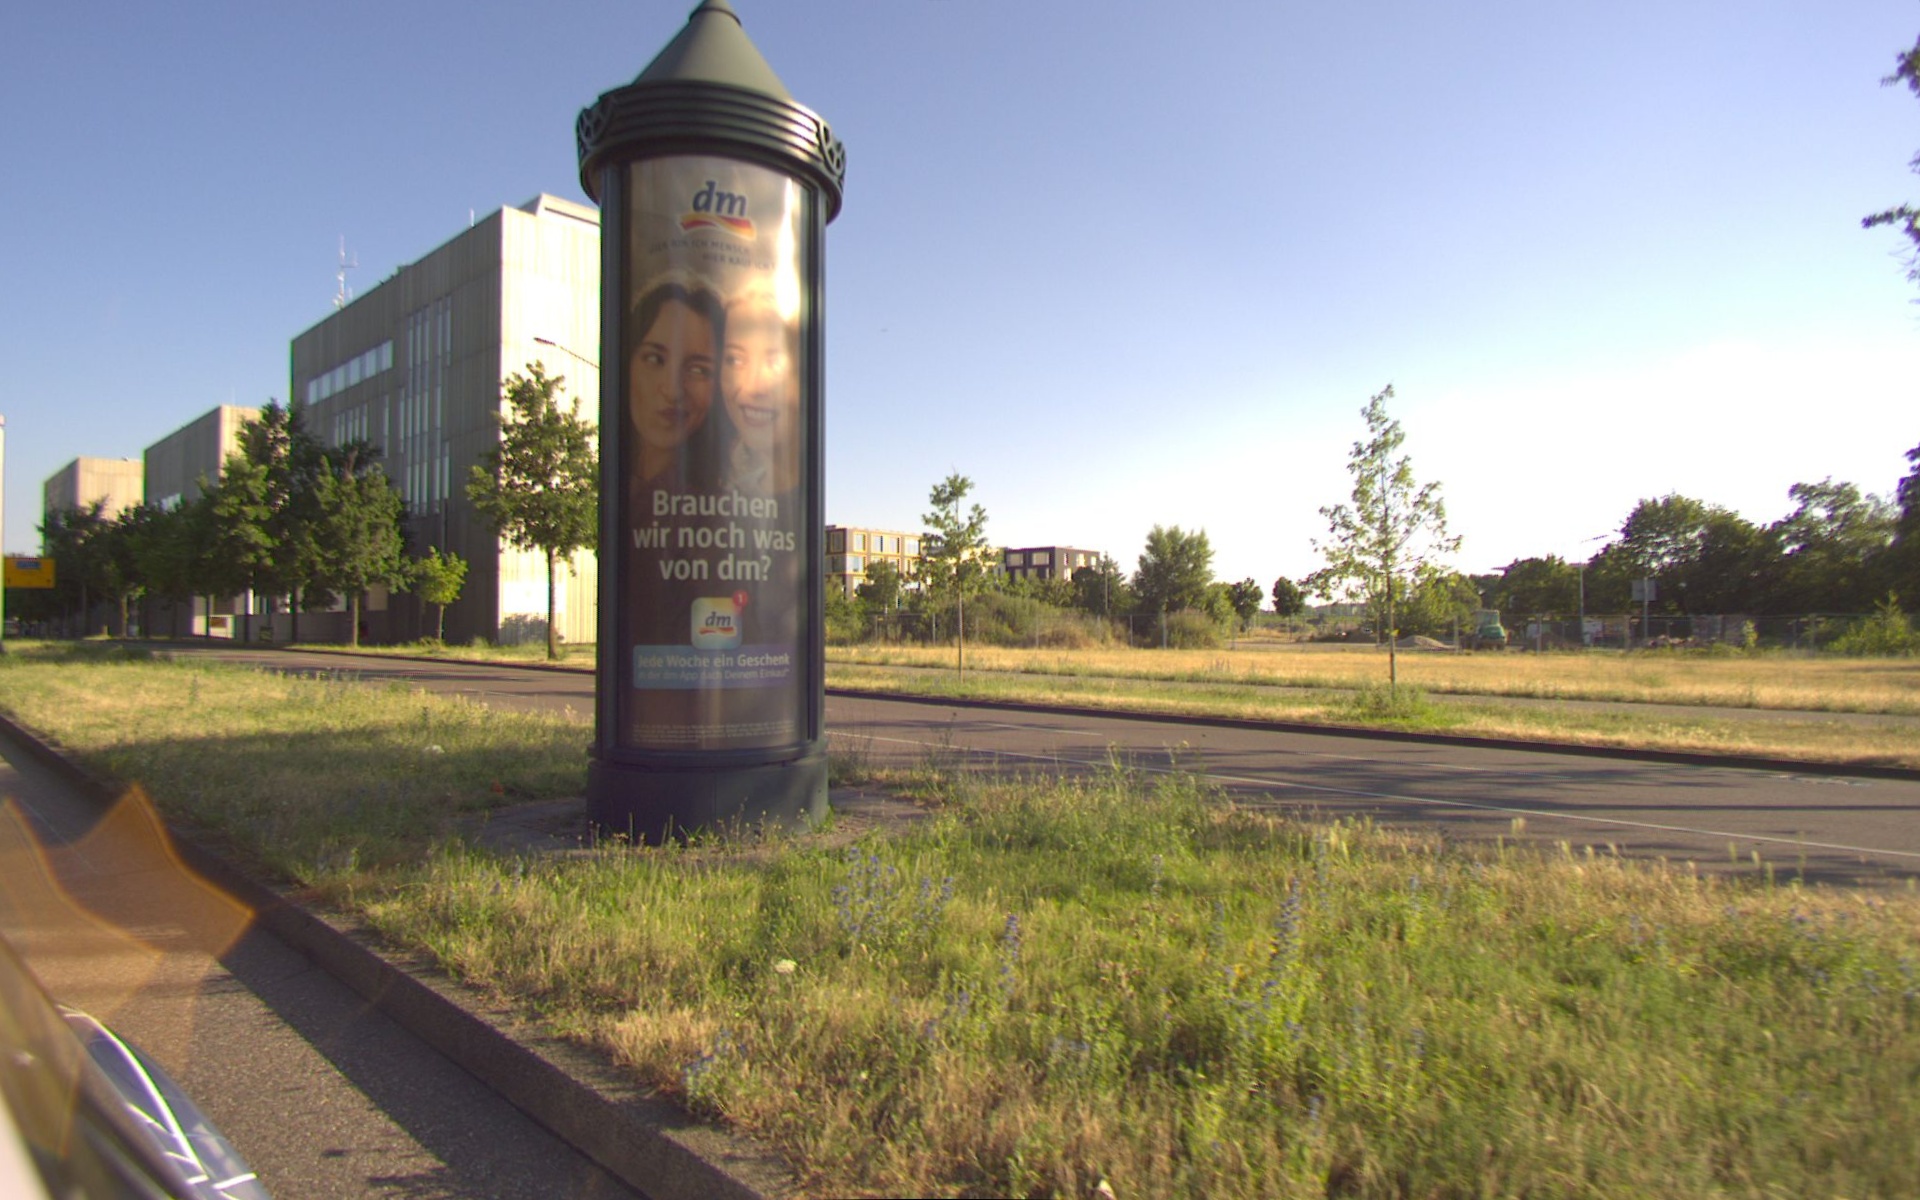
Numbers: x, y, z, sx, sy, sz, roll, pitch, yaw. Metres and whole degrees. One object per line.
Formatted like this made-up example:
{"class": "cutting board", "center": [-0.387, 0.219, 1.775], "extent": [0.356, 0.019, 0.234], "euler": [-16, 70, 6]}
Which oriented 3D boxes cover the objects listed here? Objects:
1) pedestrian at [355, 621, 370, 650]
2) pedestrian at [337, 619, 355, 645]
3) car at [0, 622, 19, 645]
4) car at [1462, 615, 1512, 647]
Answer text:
{"class": "pedestrian", "center": [-37.513, 2.220, 63.586], "extent": [0.716, 1.855, 0.625], "euler": [-2, -2, 43]}
{"class": "pedestrian", "center": [-38.510, 2.028, 63.467], "extent": [0.909, 1.614, 0.767], "euler": [-2, -2, 43]}
{"class": "car", "center": [-68.628, 2.375, 72.309], "extent": [3.409, 1.587, 1.547], "euler": [-1, -2, 39]}
{"class": "car", "center": [34.481, 2.005, 66.311], "extent": [1.980, 2.029, 3.864], "euler": [0, -2, 13]}
